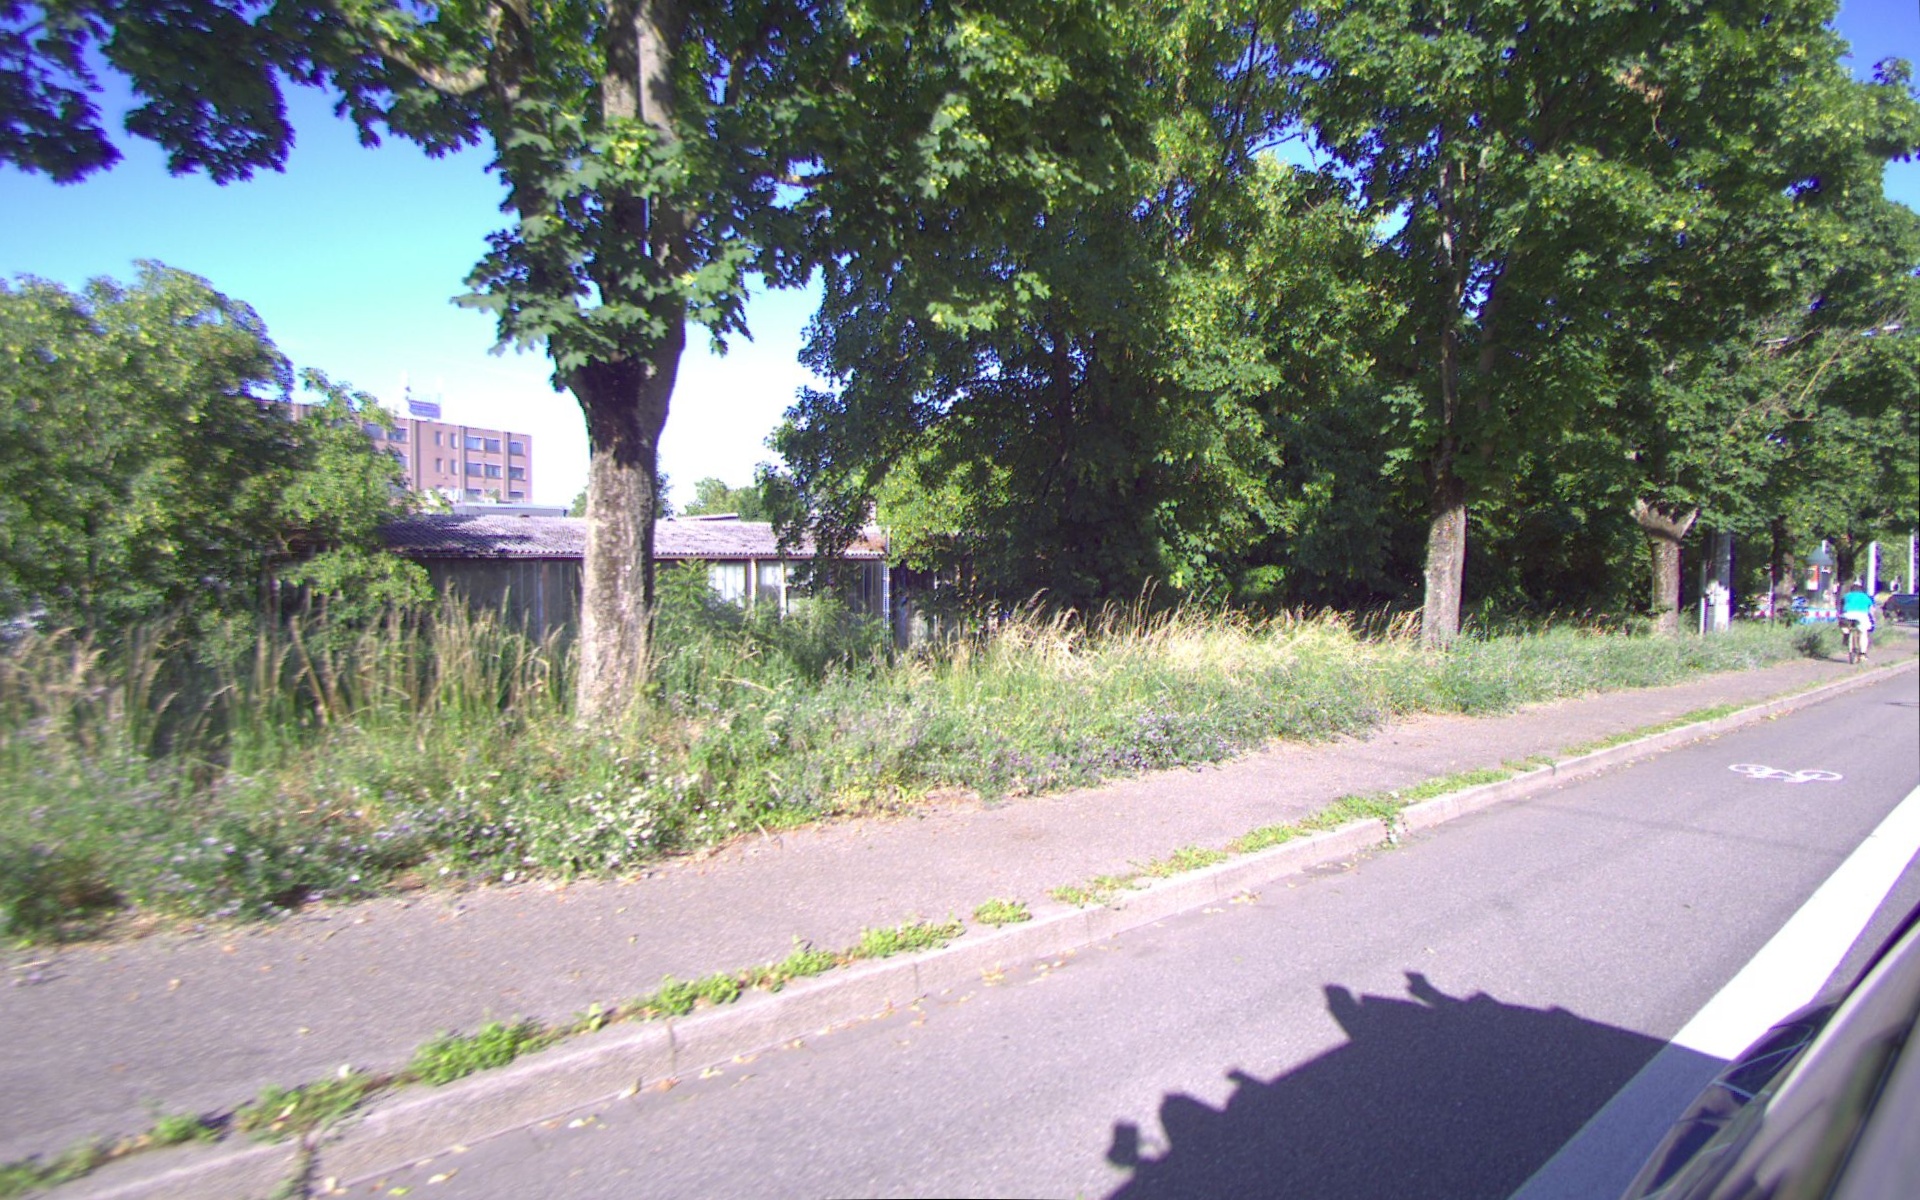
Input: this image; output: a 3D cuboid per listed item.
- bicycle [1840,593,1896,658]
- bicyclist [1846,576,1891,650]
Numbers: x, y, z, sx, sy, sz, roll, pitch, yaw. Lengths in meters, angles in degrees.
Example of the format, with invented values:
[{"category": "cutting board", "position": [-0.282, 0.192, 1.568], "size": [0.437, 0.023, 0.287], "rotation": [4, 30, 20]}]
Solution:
[{"category": "bicycle", "position": [20.048, 0.528, 22.332], "size": [2.201, 1.369, 0.646], "rotation": [-1, 0, -41]}, {"category": "bicyclist", "position": [19.977, 0.275, 22.260], "size": [0.686, 1.604, 0.655], "rotation": [0, 0, -41]}]
